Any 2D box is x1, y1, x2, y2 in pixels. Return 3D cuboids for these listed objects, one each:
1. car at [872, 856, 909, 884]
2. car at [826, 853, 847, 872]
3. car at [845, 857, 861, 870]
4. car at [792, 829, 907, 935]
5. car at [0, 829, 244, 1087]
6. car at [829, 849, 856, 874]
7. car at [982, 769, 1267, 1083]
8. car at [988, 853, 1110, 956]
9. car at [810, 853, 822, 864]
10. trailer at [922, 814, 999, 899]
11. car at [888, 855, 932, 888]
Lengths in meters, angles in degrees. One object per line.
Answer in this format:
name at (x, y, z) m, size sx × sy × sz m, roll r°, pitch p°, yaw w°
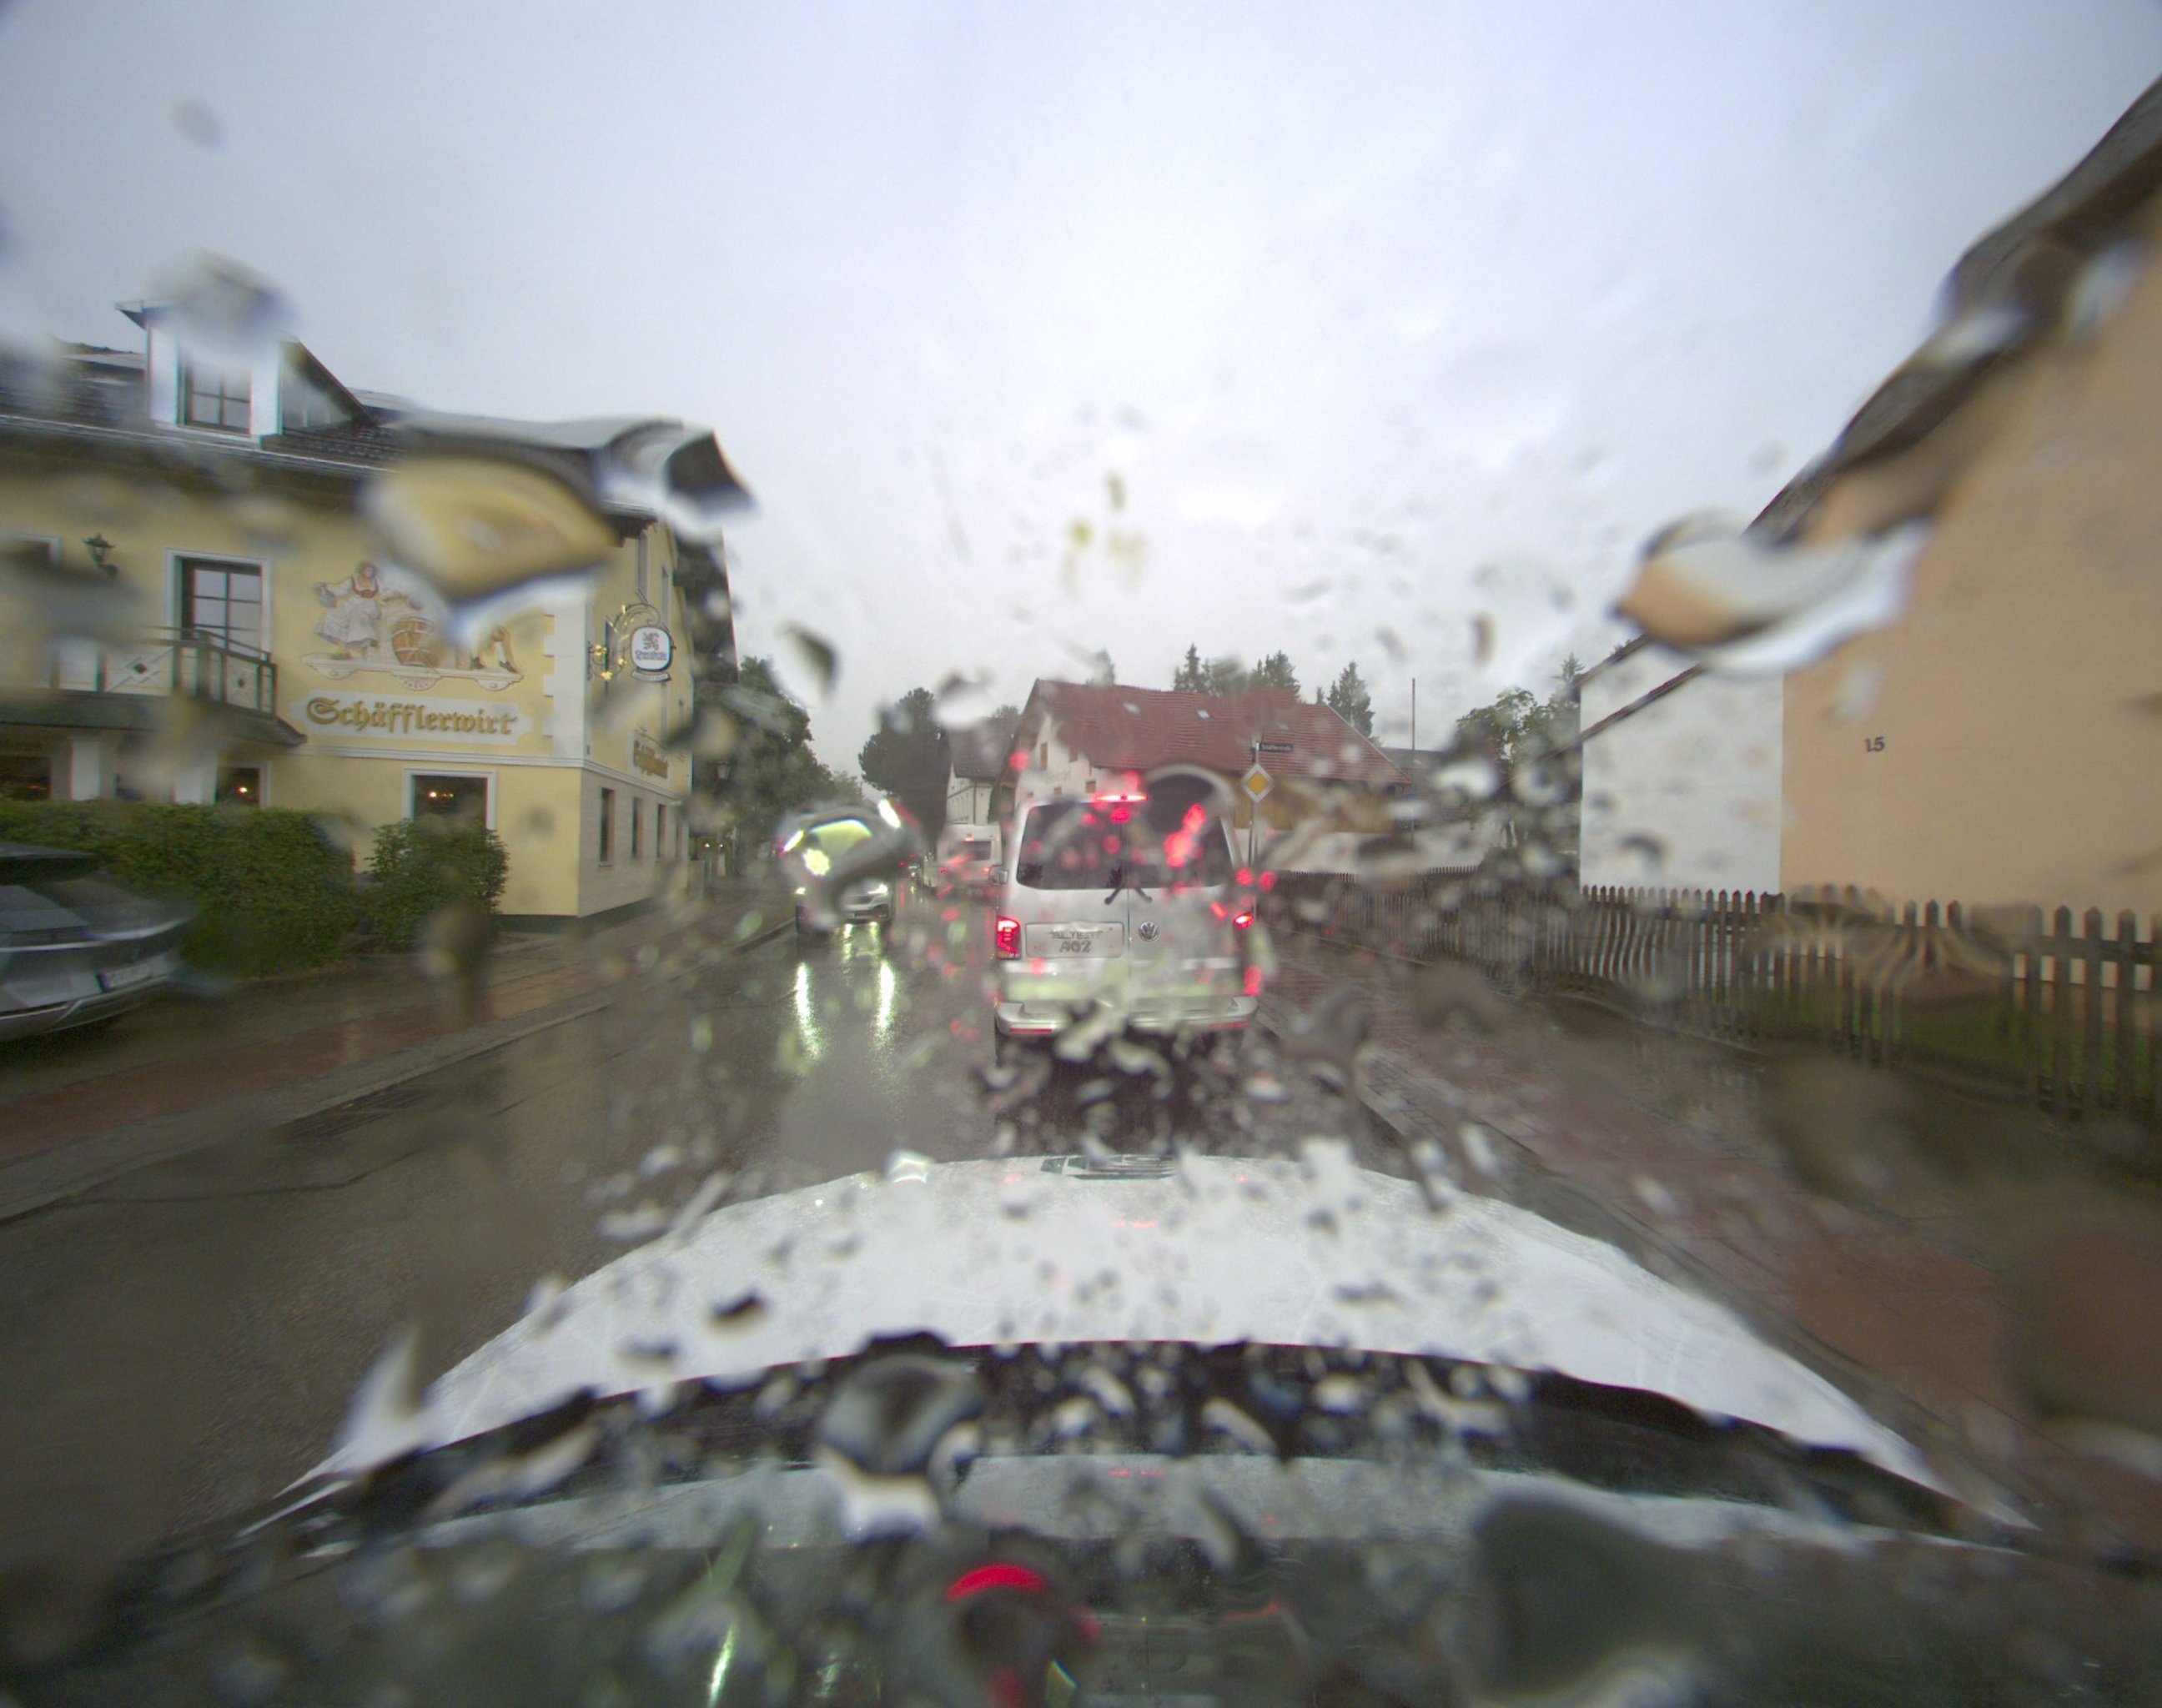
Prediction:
car at (-14.066, 1.117, 59.933) m, size 2.175 × 1.899 × 4.984 m, roll 1°, pitch 0°, yaw -18°
car at (-24.146, 0.833, 80.494) m, size 1.867 × 1.758 × 4.458 m, roll -3°, pitch 1°, yaw -17°
car at (-36.009, 1.494, 128.543) m, size 2.175 × 1.899 × 4.984 m, roll 1°, pitch 0°, yaw -18°
car at (-4.921, 0.555, 17.911) m, size 1.850 × 1.971 × 4.686 m, roll -1°, pitch -1°, yaw -9°
car at (-9.077, 0.573, 5.395) m, size 4.490 × 1.567 × 1.827 m, roll 3°, pitch 1°, yaw -20°
car at (-18.250, 0.530, 62.284) m, size 1.867 × 1.758 × 4.458 m, roll -3°, pitch 1°, yaw -17°
car at (0.346, 0.469, 7.695) m, size 1.770 × 1.963 × 5.075 m, roll -1°, pitch 0°, yaw 2°
car at (-0.781, 0.811, 15.612) m, size 1.708 × 1.584 × 4.670 m, roll -2°, pitch 1°, yaw -10°
car at (-44.859, 0.749, 137.880) m, size 1.867 × 1.758 × 4.456 m, roll -3°, pitch 1°, yaw -18°
trailer at (-4.719, 0.096, 31.043) m, size 2.275 × 2.904 × 6.101 m, roll 0°, pitch 0°, yaw -15°
car at (-10.921, 1.085, 51.749) m, size 2.175 × 1.899 × 4.984 m, roll 1°, pitch 0°, yaw -18°
